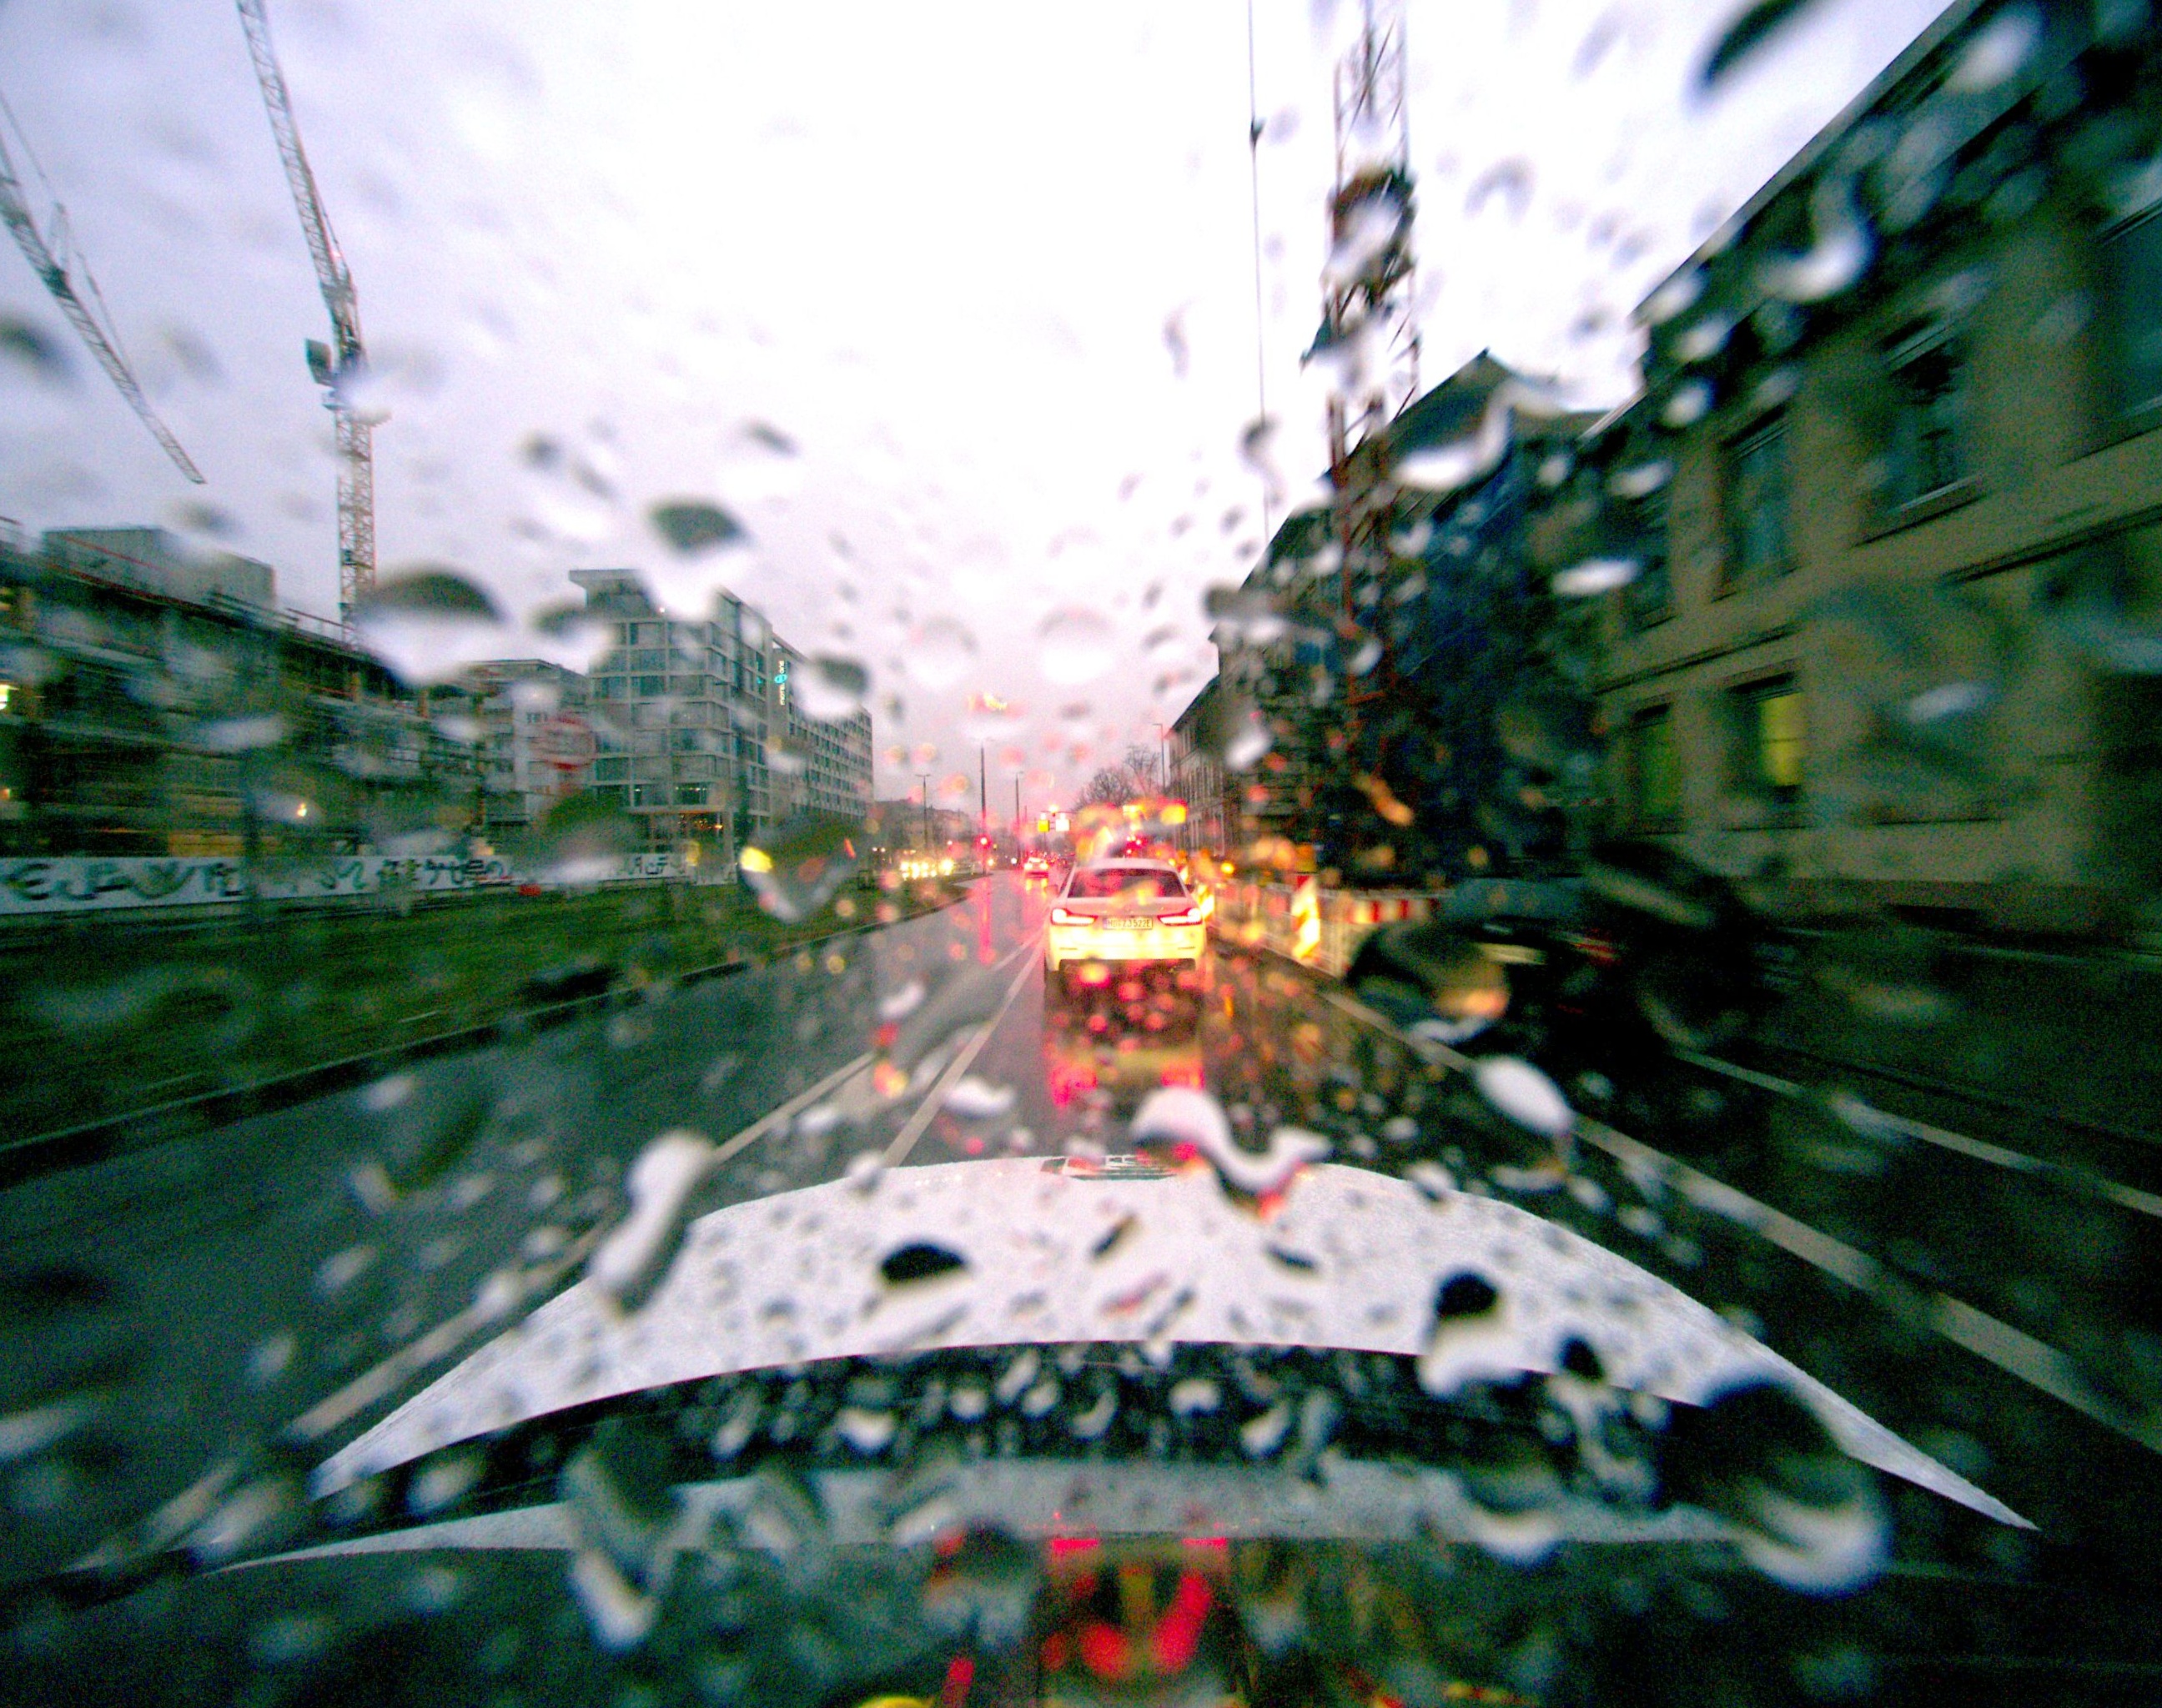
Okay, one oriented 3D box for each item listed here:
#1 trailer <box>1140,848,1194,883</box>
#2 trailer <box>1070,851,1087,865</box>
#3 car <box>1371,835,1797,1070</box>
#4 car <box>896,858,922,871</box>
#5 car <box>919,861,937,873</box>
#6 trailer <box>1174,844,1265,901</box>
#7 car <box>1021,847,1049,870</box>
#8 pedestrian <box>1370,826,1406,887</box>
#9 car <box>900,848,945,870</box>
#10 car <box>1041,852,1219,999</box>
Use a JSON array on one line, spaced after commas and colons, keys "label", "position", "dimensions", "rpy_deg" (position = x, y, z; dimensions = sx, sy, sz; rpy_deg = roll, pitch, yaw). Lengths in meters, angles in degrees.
[{"label": "trailer", "position": [3.630, 0.450, 34.885], "dimensions": [1.846, 1.346, 3.527], "rpy_deg": [-3, 1, -1]}, {"label": "trailer", "position": [-0.354, 0.465, 102.091], "dimensions": [1.830, 1.643, 3.995], "rpy_deg": [-2, 0, -4]}, {"label": "car", "position": [4.722, 0.643, 7.449], "dimensions": [4.113, 1.518, 1.887], "rpy_deg": [-2, 0, -36]}, {"label": "car", "position": [-20.863, 1.281, 98.870], "dimensions": [1.753, 1.492, 3.503], "rpy_deg": [-2, 0, -36]}, {"label": "car", "position": [-23.088, 1.932, 122.854], "dimensions": [1.852, 1.640, 4.032], "rpy_deg": [-2, 0, 0]}, {"label": "trailer", "position": [4.111, 0.477, 24.953], "dimensions": [1.830, 1.490, 4.845], "rpy_deg": [-3, 1, -1]}, {"label": "car", "position": [-3.488, 0.338, 62.551], "dimensions": [1.895, 1.641, 3.998], "rpy_deg": [-2, 0, -1]}, {"label": "pedestrian", "position": [8.907, 0.061, 23.636], "dimensions": [0.640, 1.710, 0.726], "rpy_deg": [-4, 0, -2]}, {"label": "car", "position": [-15.400, 0.453, 79.270], "dimensions": [4.001, 1.975, 1.987], "rpy_deg": [-2, 0, -20]}, {"label": "car", "position": [0.447, 0.746, 11.036], "dimensions": [1.847, 1.465, 4.943], "rpy_deg": [-2, 0, -2]}]
